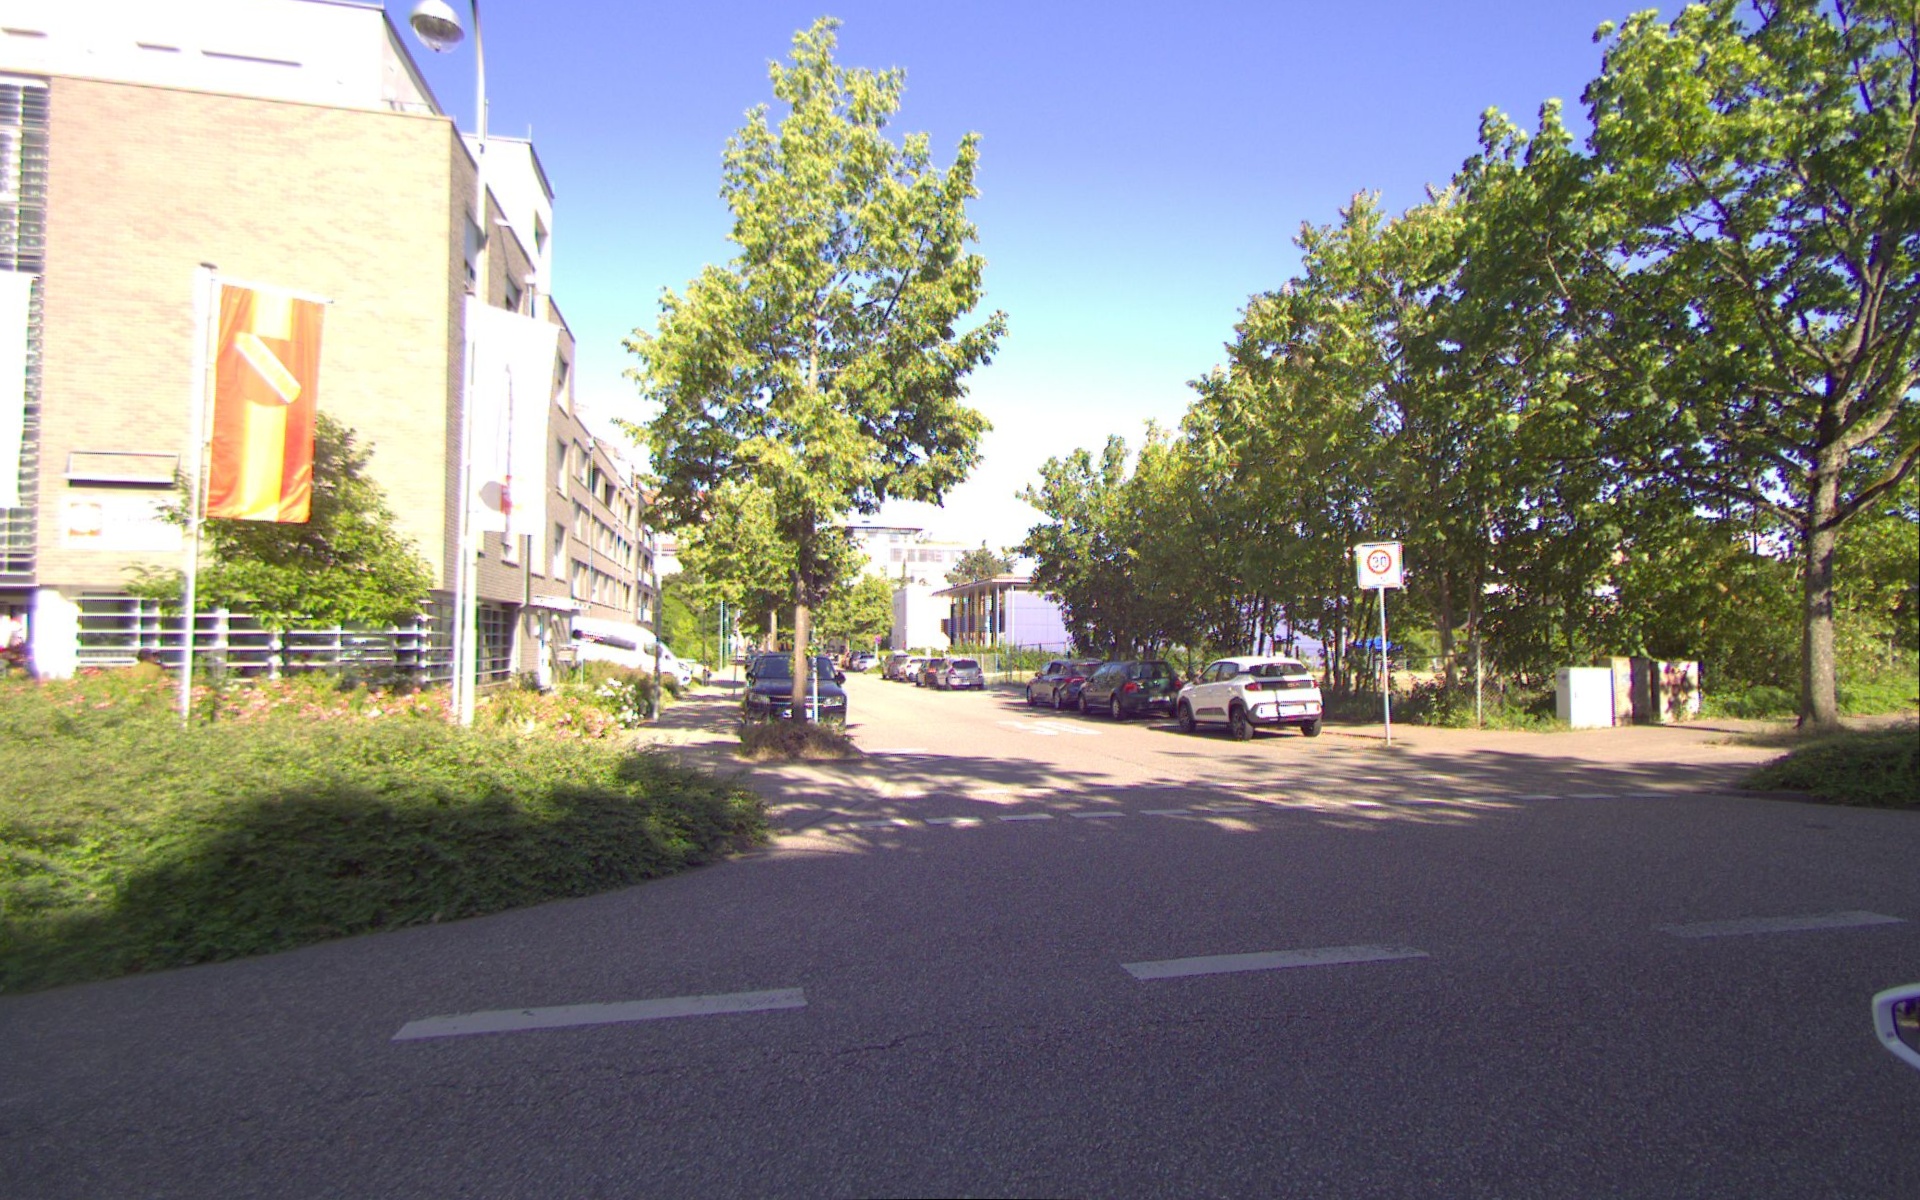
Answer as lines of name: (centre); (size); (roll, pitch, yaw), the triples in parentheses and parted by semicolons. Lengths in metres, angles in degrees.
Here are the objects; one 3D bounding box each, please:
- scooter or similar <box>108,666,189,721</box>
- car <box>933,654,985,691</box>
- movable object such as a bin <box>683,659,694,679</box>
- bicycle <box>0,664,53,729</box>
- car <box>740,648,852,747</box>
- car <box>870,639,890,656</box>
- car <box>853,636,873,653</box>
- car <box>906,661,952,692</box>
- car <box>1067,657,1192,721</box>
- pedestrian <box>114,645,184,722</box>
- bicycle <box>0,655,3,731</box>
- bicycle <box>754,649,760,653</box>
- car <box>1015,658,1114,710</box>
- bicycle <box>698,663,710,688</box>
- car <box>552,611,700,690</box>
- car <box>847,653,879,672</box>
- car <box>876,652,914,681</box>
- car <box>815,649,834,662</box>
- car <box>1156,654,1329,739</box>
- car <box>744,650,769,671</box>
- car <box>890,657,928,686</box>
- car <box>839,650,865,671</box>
scooter or similar: (-14.972, 1.711, 18.549); (0.853, 0.967, 0.805); (1, -2, -10)
car: (-0.082, 3.331, 46.734); (1.639, 1.533, 3.992); (1, -2, -12)
movable object such as a bin: (-16.058, 4.078, 59.363); (0.599, 1.105, 0.635); (1, -1, -14)
bicycle: (-16.382, 1.587, 16.562); (2.155, 1.061, 0.437); (1, -1, -13)
car: (-3.154, 1.787, 19.086); (1.859, 1.640, 4.332); (1, -4, -11)
car: (-10.036, 5.962, 125.564); (1.965, 2.040, 3.992); (0, -3, -12)
car: (-12.130, 5.563, 125.077); (1.995, 2.040, 3.992); (0, -2, -12)
car: (-1.637, 3.890, 51.641); (1.664, 1.514, 4.070); (1, -4, -13)
car: (4.233, 2.224, 25.772); (1.799, 1.491, 4.061); (1, -4, -12)
pedestrian: (-14.945, 1.534, 18.533); (0.732, 1.379, 0.669); (1, -3, -11)
bicycle: (-14.340, 1.270, 13.528); (2.155, 1.061, 0.437); (1, -1, -13)
bicycle: (-30.925, 7.778, 153.166); (1.064, 0.692, 0.372); (-1, -2, 42)
car: (3.092, 2.513, 30.670); (1.653, 1.456, 4.429); (1, -3, -13)
bicycle: (-12.277, 3.604, 48.212); (0.279, 1.139, 1.983); (1, -3, -6)
car: (-13.590, 2.095, 41.216); (5.379, 2.412, 1.916); (9, -5, -16)
car: (-7.965, 5.068, 82.109); (1.805, 1.441, 4.221); (-2, -3, -15)
car: (-4.199, 4.230, 64.094); (1.701, 1.674, 4.316); (-1, -2, -13)
car: (-15.895, 6.469, 117.707); (1.965, 1.505, 3.992); (0, -3, -12)
car: (5.360, 1.837, 19.620); (1.596, 1.469, 4.085); (1, -4, -11)
car: (-16.516, 4.879, 81.512); (1.735, 1.547, 3.995); (3, -3, -9)
car: (-3.032, 4.166, 59.040); (1.656, 1.562, 3.840); (1, -2, -12)
car: (-9.597, 5.326, 88.822); (1.795, 1.741, 4.110); (-2, -2, -13)
